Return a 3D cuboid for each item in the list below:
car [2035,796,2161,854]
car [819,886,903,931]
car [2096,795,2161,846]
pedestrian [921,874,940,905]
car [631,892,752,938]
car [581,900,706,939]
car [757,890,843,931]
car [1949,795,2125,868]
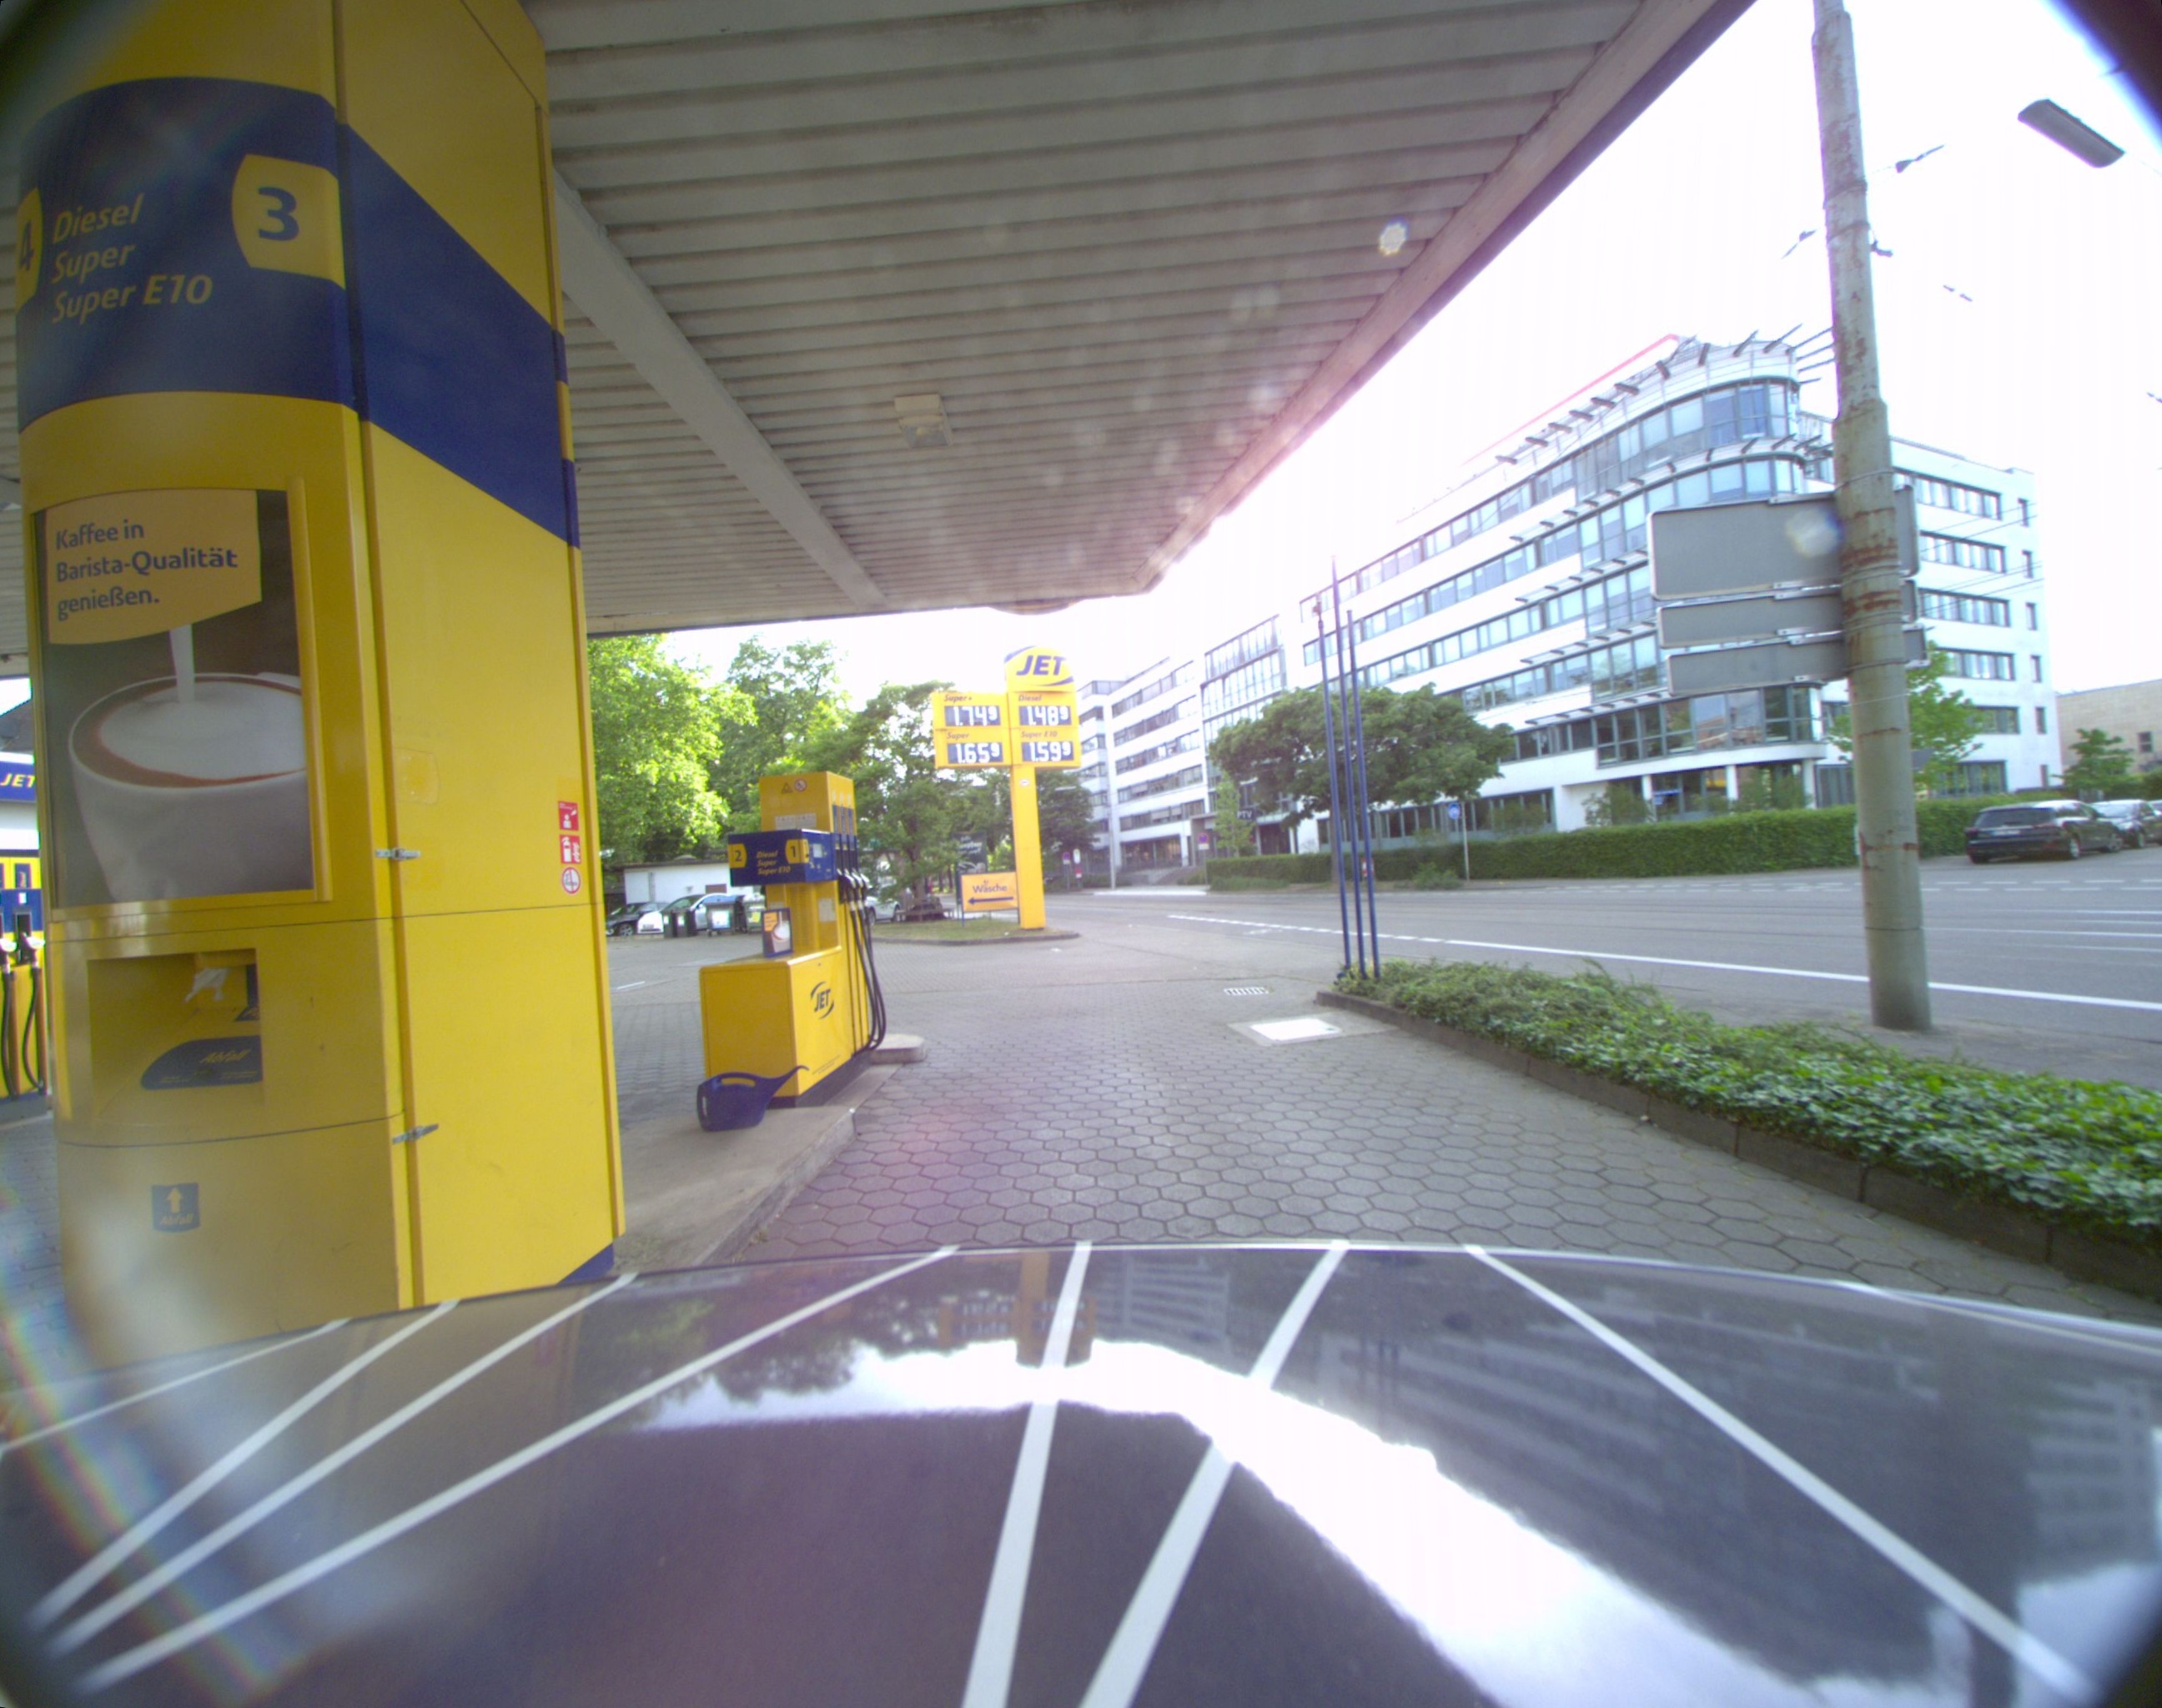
[{"bbox_3d":[32.492,-0.937,24.030,4.109,1.544,1.786,-4,-1,-23],"label":"car"},{"bbox_3d":[-8.686,2.122,30.366,1.739,1.500,4.003,-4,-2,6],"label":"car"},{"bbox_3d":[37.151,-1.232,26.069,4.109,1.544,1.786,-4,-1,-23],"label":"car"},{"bbox_3d":[-10.096,2.389,50.976,0.934,2.001,1.214,-2,-1,-22],"label":"pedestrian"},{"bbox_3d":[-15.359,2.390,30.240,1.785,1.514,4.229,-4,-3,17],"label":"car"},{"bbox_3d":[-17.745,2.638,31.055,1.745,1.269,4.230,-5,-3,19],"label":"car"},{"bbox_3d":[-11.802,2.329,32.228,1.739,1.500,4.004,-4,-2,6],"label":"car"},{"bbox_3d":[27.377,-0.644,21.759,4.438,1.603,1.976,-5,-1,-23],"label":"car"}]
